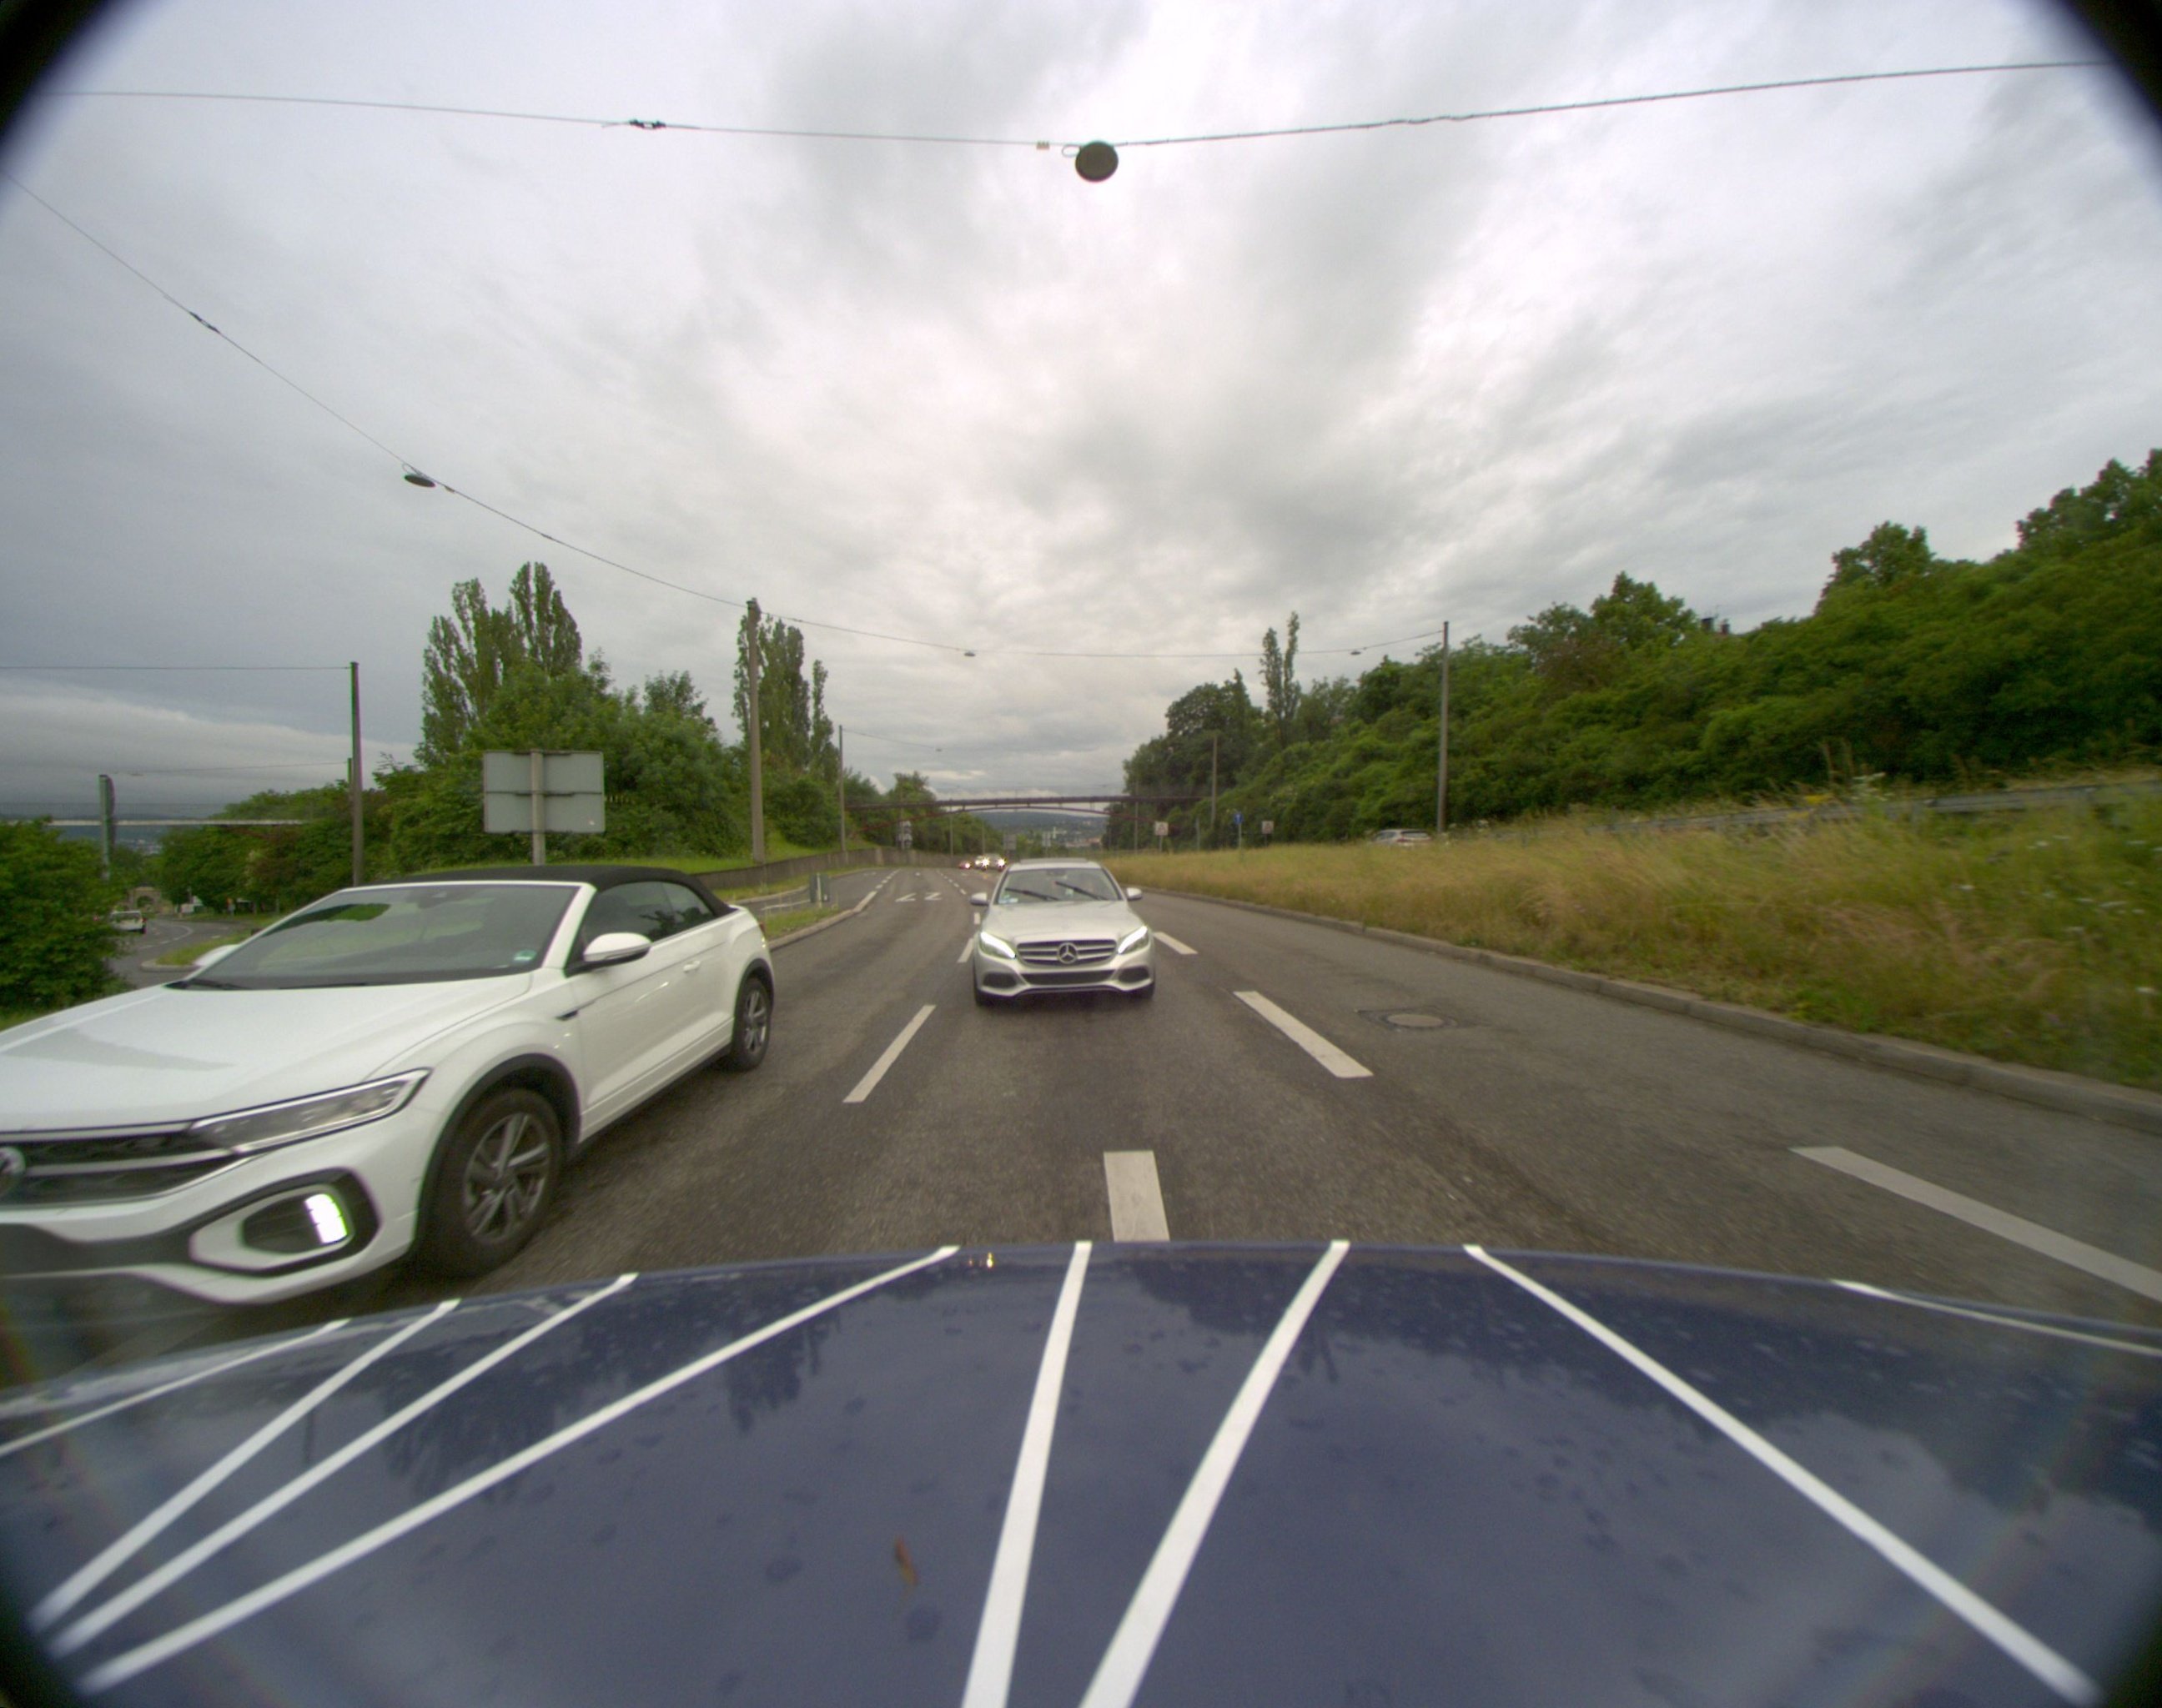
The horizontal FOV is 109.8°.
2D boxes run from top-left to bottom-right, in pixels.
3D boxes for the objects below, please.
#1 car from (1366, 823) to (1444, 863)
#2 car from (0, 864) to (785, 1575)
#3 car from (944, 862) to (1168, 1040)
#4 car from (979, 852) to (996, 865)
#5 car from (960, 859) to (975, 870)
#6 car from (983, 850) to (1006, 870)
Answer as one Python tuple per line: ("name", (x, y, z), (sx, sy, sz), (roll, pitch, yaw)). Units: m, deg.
("car", (14.584, -0.472, 34.431), (1.740, 1.508, 3.677), (6, 0, -1))
("car", (-3.133, 0.921, 3.881), (1.718, 1.544, 4.227), (-2, 1, -3))
("car", (-0.182, 0.860, 8.578), (1.894, 1.361, 4.134), (-1, 1, 1))
("car", (-12.564, 0.612, 101.507), (1.944, 1.468, 3.997), (-4, 0, -10))
("car", (-18.453, 1.656, 124.098), (1.999, 1.652, 3.999), (-4, 0, -4))
("car", (-8.034, 0.592, 70.266), (1.912, 1.668, 3.998), (-4, 0, -7))
